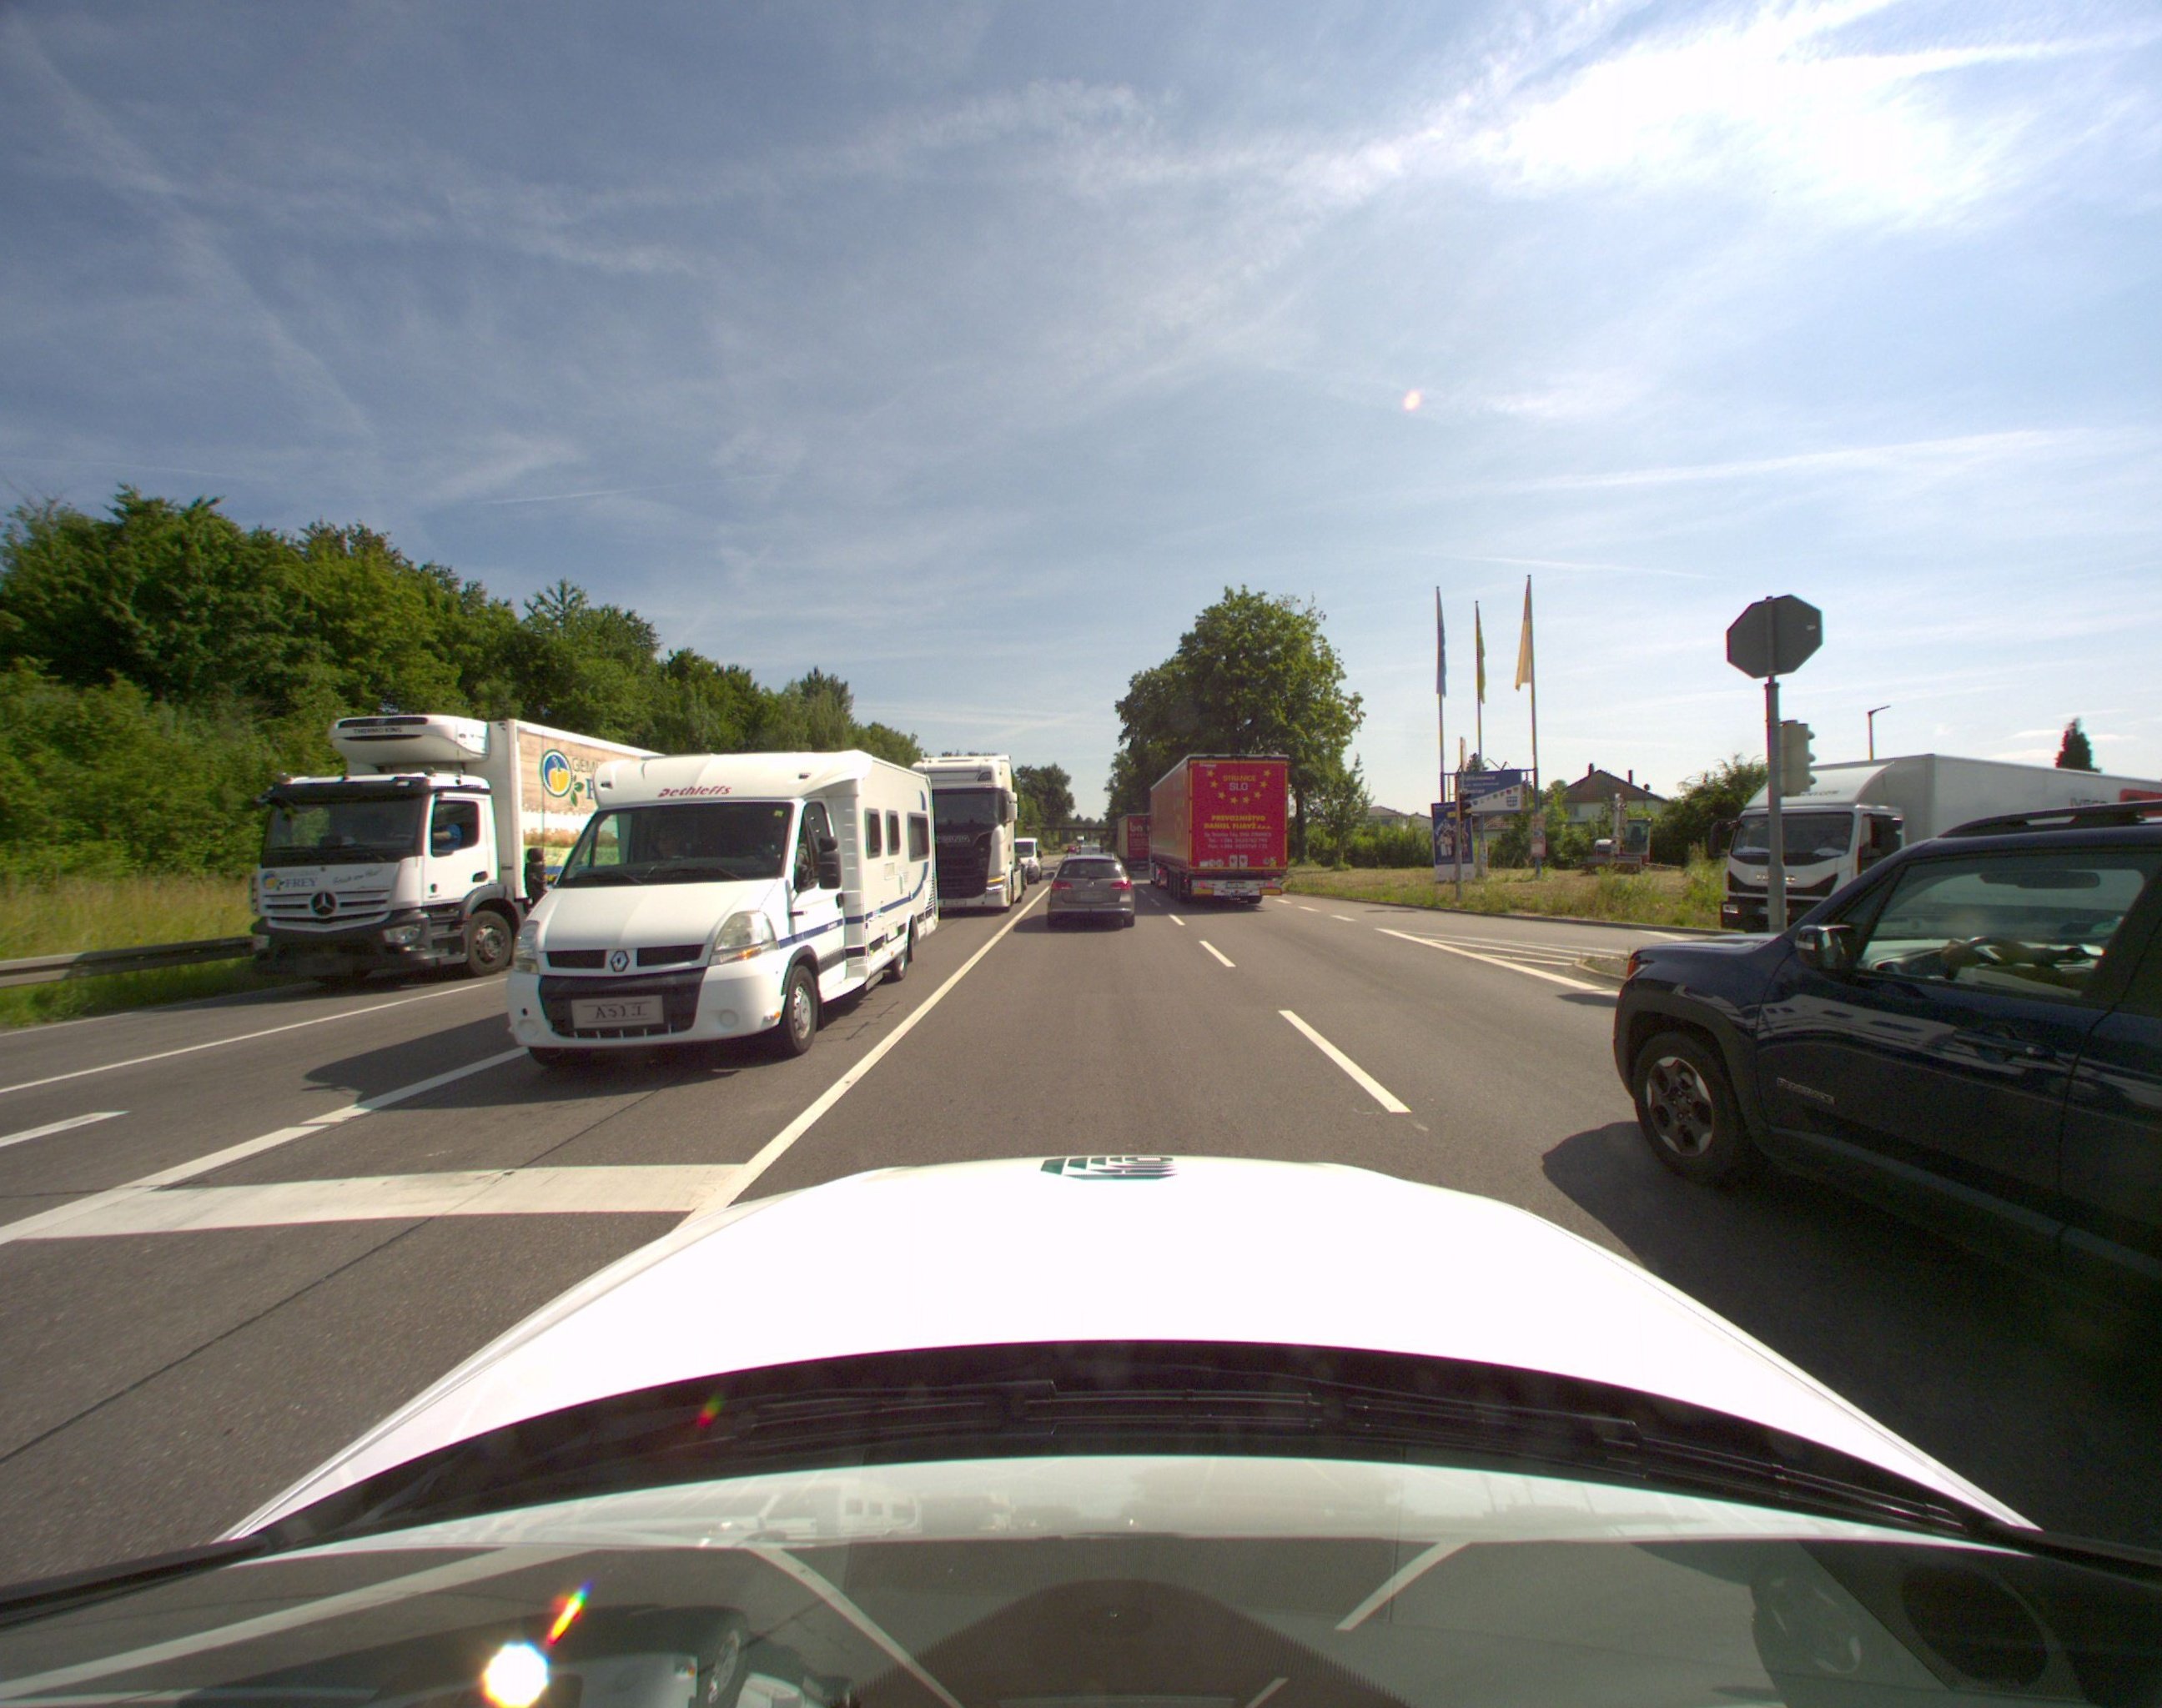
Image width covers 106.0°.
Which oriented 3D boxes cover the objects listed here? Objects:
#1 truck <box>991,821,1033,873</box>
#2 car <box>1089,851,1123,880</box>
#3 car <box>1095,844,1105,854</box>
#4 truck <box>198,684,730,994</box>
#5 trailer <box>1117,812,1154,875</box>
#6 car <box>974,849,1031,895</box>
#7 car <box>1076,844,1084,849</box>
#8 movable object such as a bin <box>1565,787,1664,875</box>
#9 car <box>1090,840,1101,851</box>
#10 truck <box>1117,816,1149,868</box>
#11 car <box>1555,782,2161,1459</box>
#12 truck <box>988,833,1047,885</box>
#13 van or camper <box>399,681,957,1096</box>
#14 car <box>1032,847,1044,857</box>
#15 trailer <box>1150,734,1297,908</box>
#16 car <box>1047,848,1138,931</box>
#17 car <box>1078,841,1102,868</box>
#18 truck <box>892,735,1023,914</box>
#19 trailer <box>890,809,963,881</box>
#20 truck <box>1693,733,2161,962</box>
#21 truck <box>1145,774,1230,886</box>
[{"bbox_3d":[-4.978,-0.472,59.706,2.336,3.520,6.696,-2,0,0],"label":"truck"},{"bbox_3d":[1.411,0.617,46.827,1.765,1.513,3.999,-2,0,0],"label":"car"},{"bbox_3d":[4.034,-1.040,172.902,1.987,2.013,3.999,-2,0,0],"label":"car"},{"bbox_3d":[-10.241,-0.205,15.596,2.720,3.999,9.618,-2,0,0],"label":"truck"},{"bbox_3d":[4.064,-0.755,62.879,2.386,4.243,13.085,-2,0,2],"label":"trailer"},{"bbox_3d":[-2.909,0.636,31.000,1.705,1.551,4.109,-2,0,0],"label":"car"},{"bbox_3d":[-0.213,-2.058,232.966,1.954,1.414,4.005,-2,0,4],"label":"car"},{"bbox_3d":[22.283,-0.919,33.860,2.863,3.207,6.748,-2,0,37],"label":"movable object such as a bin"},{"bbox_3d":[2.650,-1.582,150.017,1.987,2.013,3.999,-2,0,0],"label":"car"},{"bbox_3d":[4.315,-0.970,68.909,2.397,4.127,5.524,-2,0,2],"label":"truck"},{"bbox_3d":[3.508,0.619,2.529,1.764,1.654,4.001,-2,0,1],"label":"car"},{"bbox_3d":[-2.985,0.224,39.929,2.219,2.267,6.500,-2,0,1],"label":"truck"},{"bbox_3d":[-3.140,0.219,8.761,2.322,2.600,6.980,-2,0,1],"label":"van or camper"},{"bbox_3d":[-8.186,-0.334,154.914,1.967,1.796,4.806,-2,0,-2],"label":"car"},{"bbox_3d":[4.143,-0.830,27.057,2.829,4.365,13.170,0,0,1],"label":"trailer"},{"bbox_3d":[0.216,0.677,17.489,1.686,1.513,3.999,-2,0,0],"label":"car"},{"bbox_3d":[0.710,0.046,63.988,1.765,1.936,3.977,-2,0,0],"label":"car"},{"bbox_3d":[-3.116,-0.696,22.242,2.529,4.087,6.263,-2,0,-1],"label":"truck"},{"bbox_3d":[-9.634,-0.506,51.798,2.831,4.069,8.754,-2,0,0],"label":"trailer"},{"bbox_3d":[17.030,0.086,15.993,9.690,3.628,2.752,3,-2,-16],"label":"truck"},{"bbox_3d":[4.301,-0.920,34.030,2.860,4.281,5.839,0,0,1],"label":"truck"}]
